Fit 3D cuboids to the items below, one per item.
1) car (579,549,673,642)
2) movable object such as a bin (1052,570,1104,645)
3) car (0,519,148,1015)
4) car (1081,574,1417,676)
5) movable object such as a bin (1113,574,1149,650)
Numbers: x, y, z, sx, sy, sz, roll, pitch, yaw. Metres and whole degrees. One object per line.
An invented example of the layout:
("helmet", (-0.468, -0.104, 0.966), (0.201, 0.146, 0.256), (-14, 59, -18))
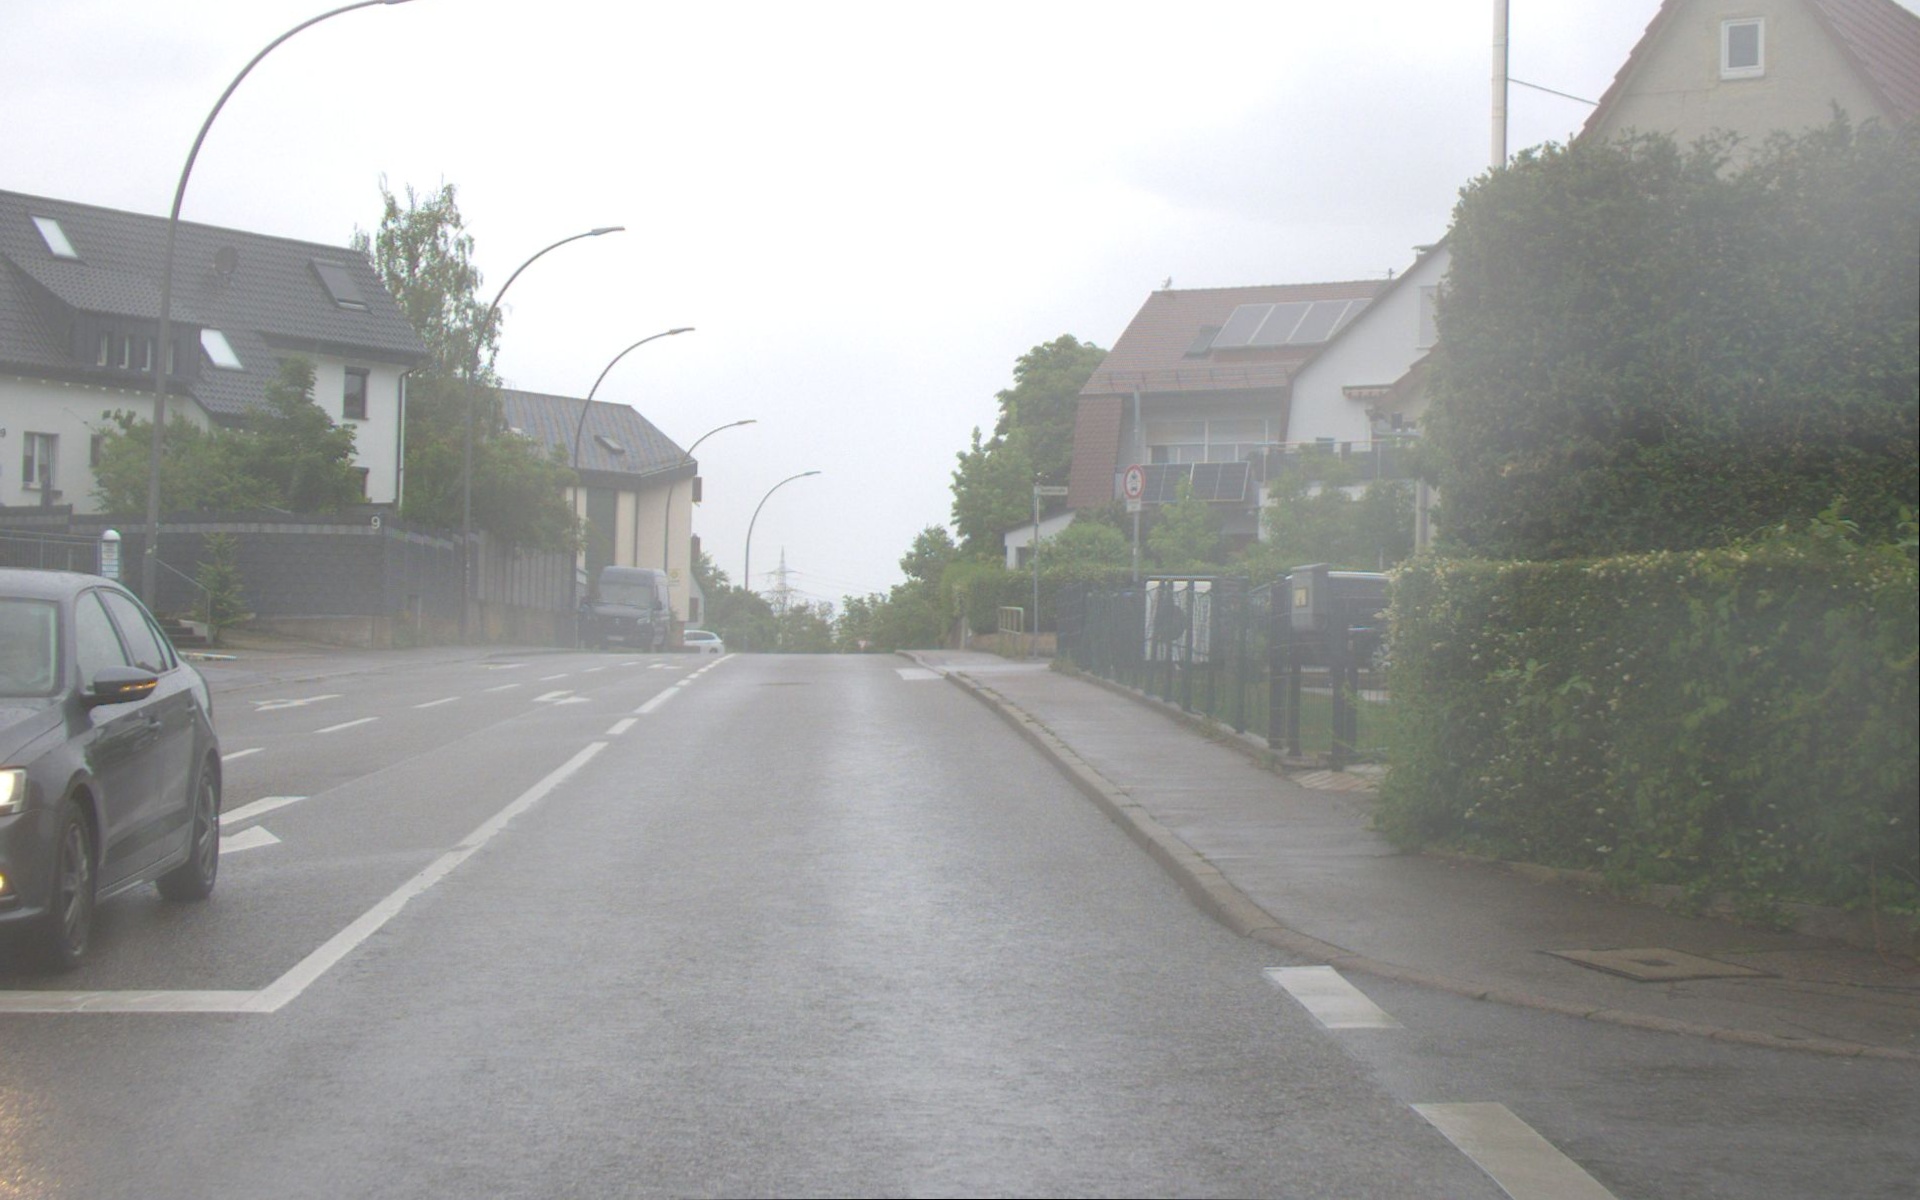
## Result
("car", (-10.103, -0.102, 104.355), (2.094, 2.640, 5.918), (2, -1, 1))
("movable object such as a bin", (1.621, 0.104, 47.225), (0.530, 1.018, 0.732), (-1, 0, 17))
("car", (-4.200, 0.494, 12.825), (1.943, 1.568, 4.227), (0, 1, -9))
("car", (4.219, 0.361, 50.056), (4.560, 1.379, 1.999), (-1, 1, 16))
("movable object such as a bin", (2.343, 0.162, 47.055), (0.443, 1.018, 0.524), (-1, 0, 7))
